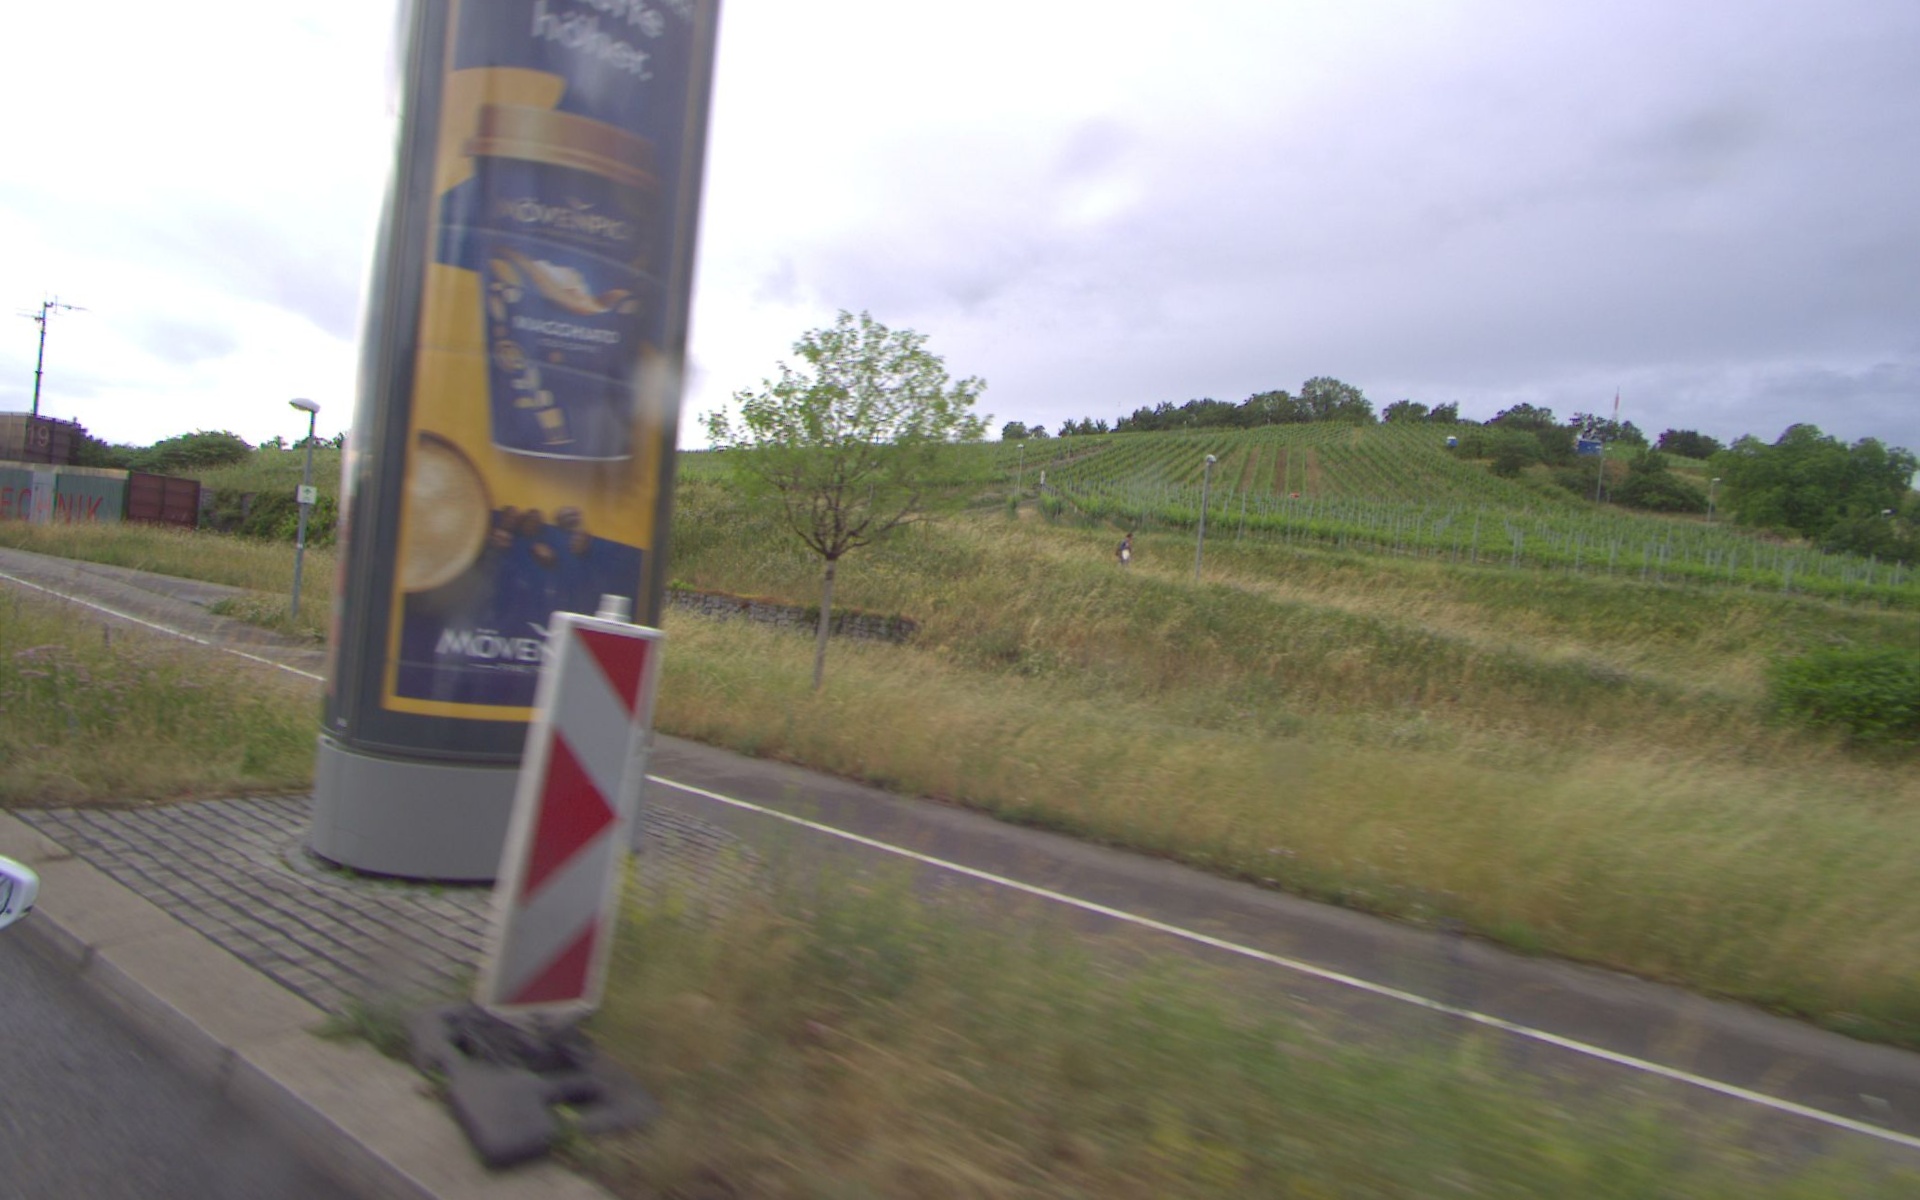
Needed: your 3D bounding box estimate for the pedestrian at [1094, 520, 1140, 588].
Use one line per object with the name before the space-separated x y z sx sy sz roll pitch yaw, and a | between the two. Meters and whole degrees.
pedestrian | 5.080 -1.485 32.629 1.037 2.040 0.779 7 3 -7
